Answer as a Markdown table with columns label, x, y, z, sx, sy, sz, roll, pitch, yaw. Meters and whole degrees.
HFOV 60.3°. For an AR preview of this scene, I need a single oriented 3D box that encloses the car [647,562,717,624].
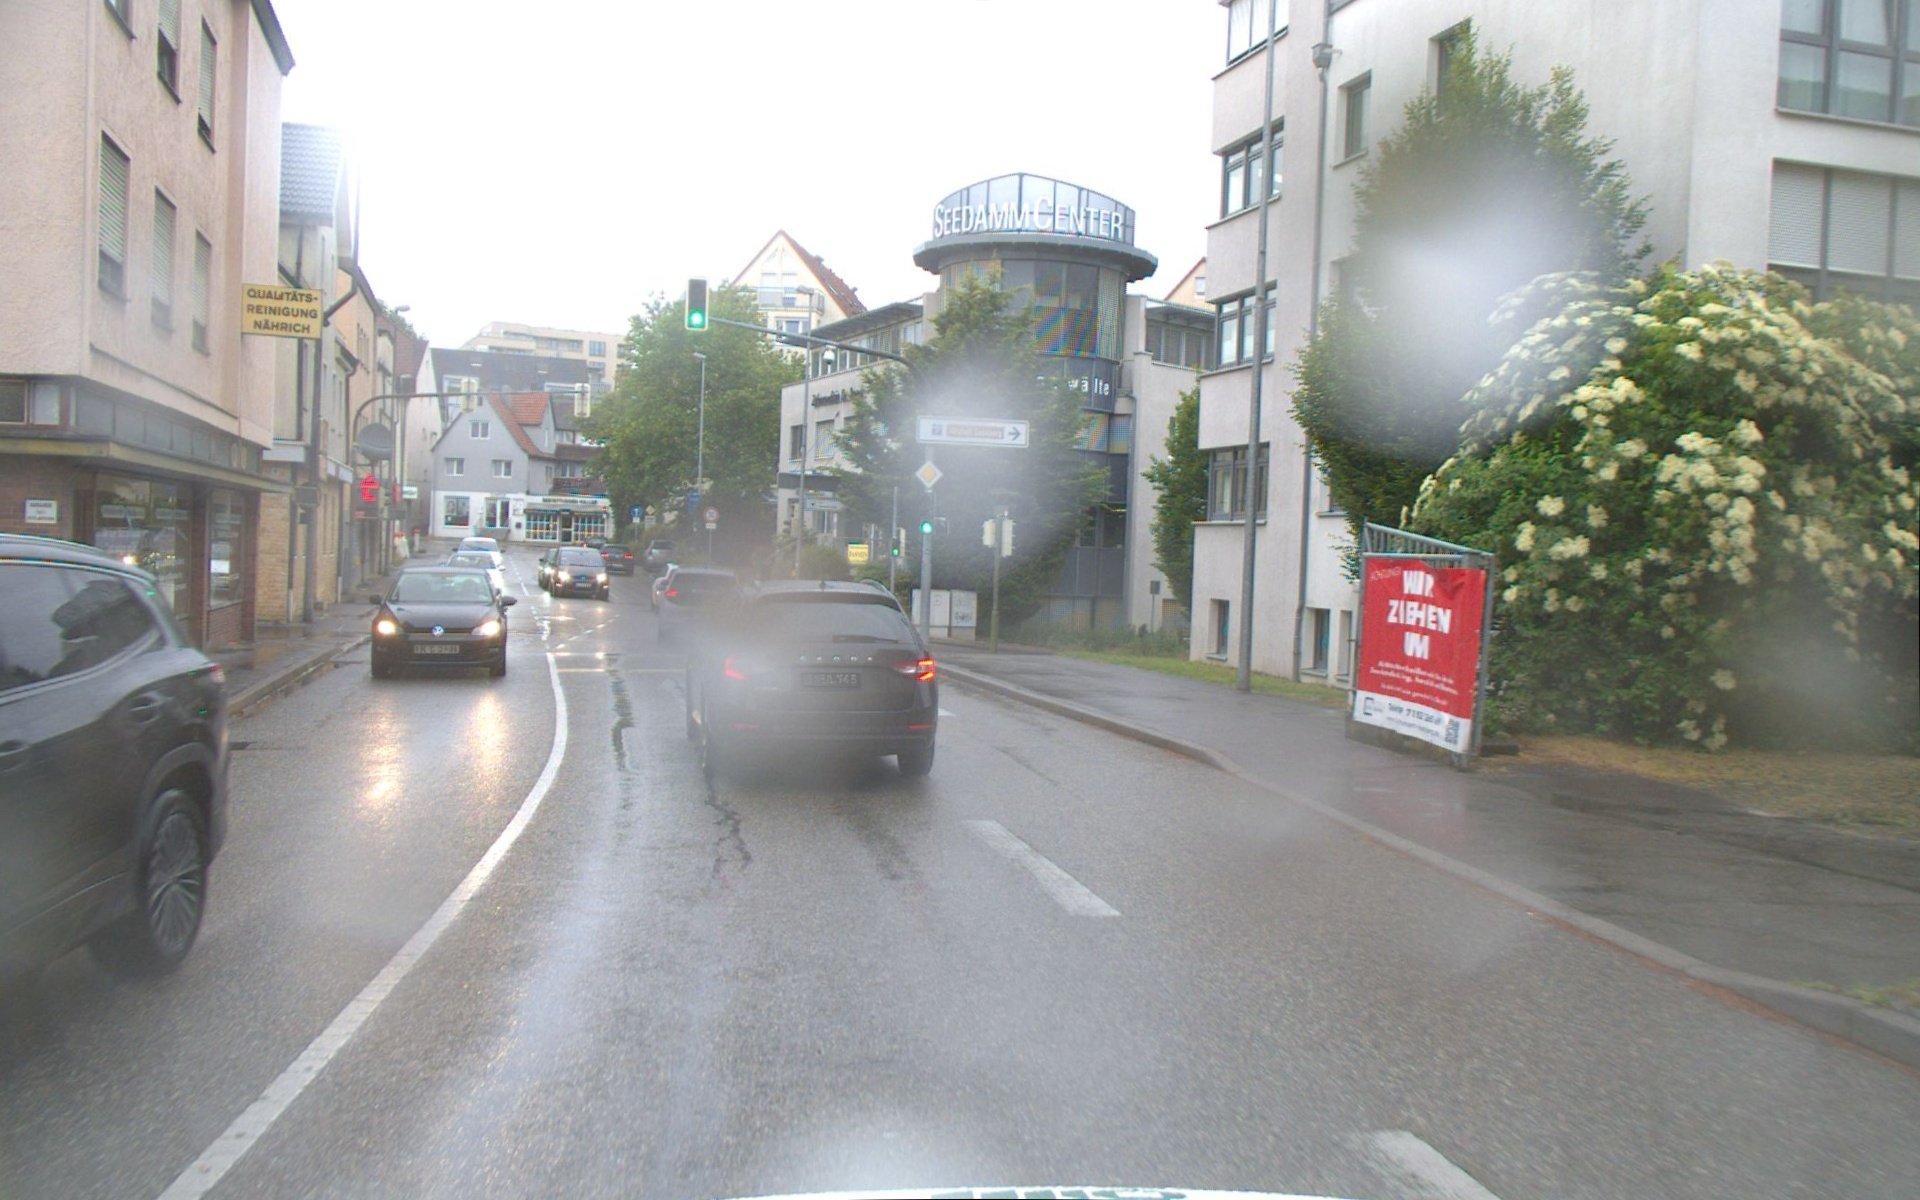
| label | x | y | z | sx | sy | sz | roll | pitch | yaw |
| --- | --- | --- | --- | --- | --- | --- | --- | --- | --- |
| car | -8.161 | -0.166 | 48.271 | 1.698 | 1.618 | 4.169 | 3 | -2 | -13 |

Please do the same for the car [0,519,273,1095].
| label | x | y | z | sx | sy | sz | roll | pitch | yaw |
| --- | --- | --- | --- | --- | --- | --- | --- | --- | --- |
| car | -3.657 | 0.590 | 4.797 | 1.857 | 1.623 | 4.350 | -1 | 1 | -6 |

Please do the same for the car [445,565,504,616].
| label | x | y | z | sx | sy | sz | roll | pitch | yaw |
| --- | --- | --- | --- | --- | --- | --- | --- | --- | --- |
| car | -14.801 | -0.312 | 50.555 | 1.662 | 1.396 | 4.097 | 0 | 2 | -16 |

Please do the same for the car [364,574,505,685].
| label | x | y | z | sx | sy | sz | roll | pitch | yaw |
| --- | --- | --- | --- | --- | --- | --- | --- | --- | --- |
| car | -7.403 | 0.357 | 23.421 | 1.742 | 1.426 | 3.900 | 0 | 1 | -17 |

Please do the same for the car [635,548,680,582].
| label | x | y | z | sx | sy | sz | roll | pitch | yaw |
| --- | --- | --- | --- | --- | --- | --- | --- | --- | --- |
| car | -15.938 | -1.864 | 87.053 | 1.824 | 1.669 | 3.851 | 1 | 2 | -18 |

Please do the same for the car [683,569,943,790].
| label | x | y | z | sx | sy | sz | roll | pitch | yaw |
| --- | --- | --- | --- | --- | --- | --- | --- | --- | --- |
| car | -1.381 | 0.517 | 13.859 | 1.750 | 1.509 | 4.235 | 0 | 2 | -11 |

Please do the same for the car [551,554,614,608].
| label | x | y | z | sx | sy | sz | roll | pitch | yaw |
| --- | --- | --- | --- | --- | --- | --- | --- | --- | --- |
| car | -12.772 | -0.679 | 55.793 | 1.756 | 1.589 | 4.383 | 3 | 2 | -17 |

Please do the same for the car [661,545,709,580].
| label | x | y | z | sx | sy | sz | roll | pitch | yaw |
| --- | --- | --- | --- | --- | --- | --- | --- | --- | --- |
| car | -13.554 | -1.865 | 81.413 | 1.824 | 1.669 | 3.520 | 1 | 2 | -18 |

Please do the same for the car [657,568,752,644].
| label | x | y | z | sx | sy | sz | roll | pitch | yaw |
| --- | --- | --- | --- | --- | --- | --- | --- | --- | --- |
| car | -5.313 | 0.078 | 34.163 | 1.785 | 1.383 | 3.981 | 2 | 1 | -10 |

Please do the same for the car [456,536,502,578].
| label | x | y | z | sx | sy | sz | roll | pitch | yaw |
| --- | --- | --- | --- | --- | --- | --- | --- | --- | --- |
| car | -19.844 | -1.784 | 68.215 | 1.756 | 1.587 | 4.318 | 1 | 2 | -17 |

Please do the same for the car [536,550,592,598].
| label | x | y | z | sx | sy | sz | roll | pitch | yaw |
| --- | --- | --- | --- | --- | --- | --- | --- | --- | --- |
| car | -14.817 | -1.012 | 61.783 | 1.756 | 1.589 | 4.383 | 3 | 2 | -17 |

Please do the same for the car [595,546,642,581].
| label | x | y | z | sx | sy | sz | roll | pitch | yaw |
| --- | --- | --- | --- | --- | --- | --- | --- | --- | --- |
| car | -16.602 | -1.787 | 80.329 | 1.863 | 1.618 | 3.671 | 1 | 1 | -17 |
